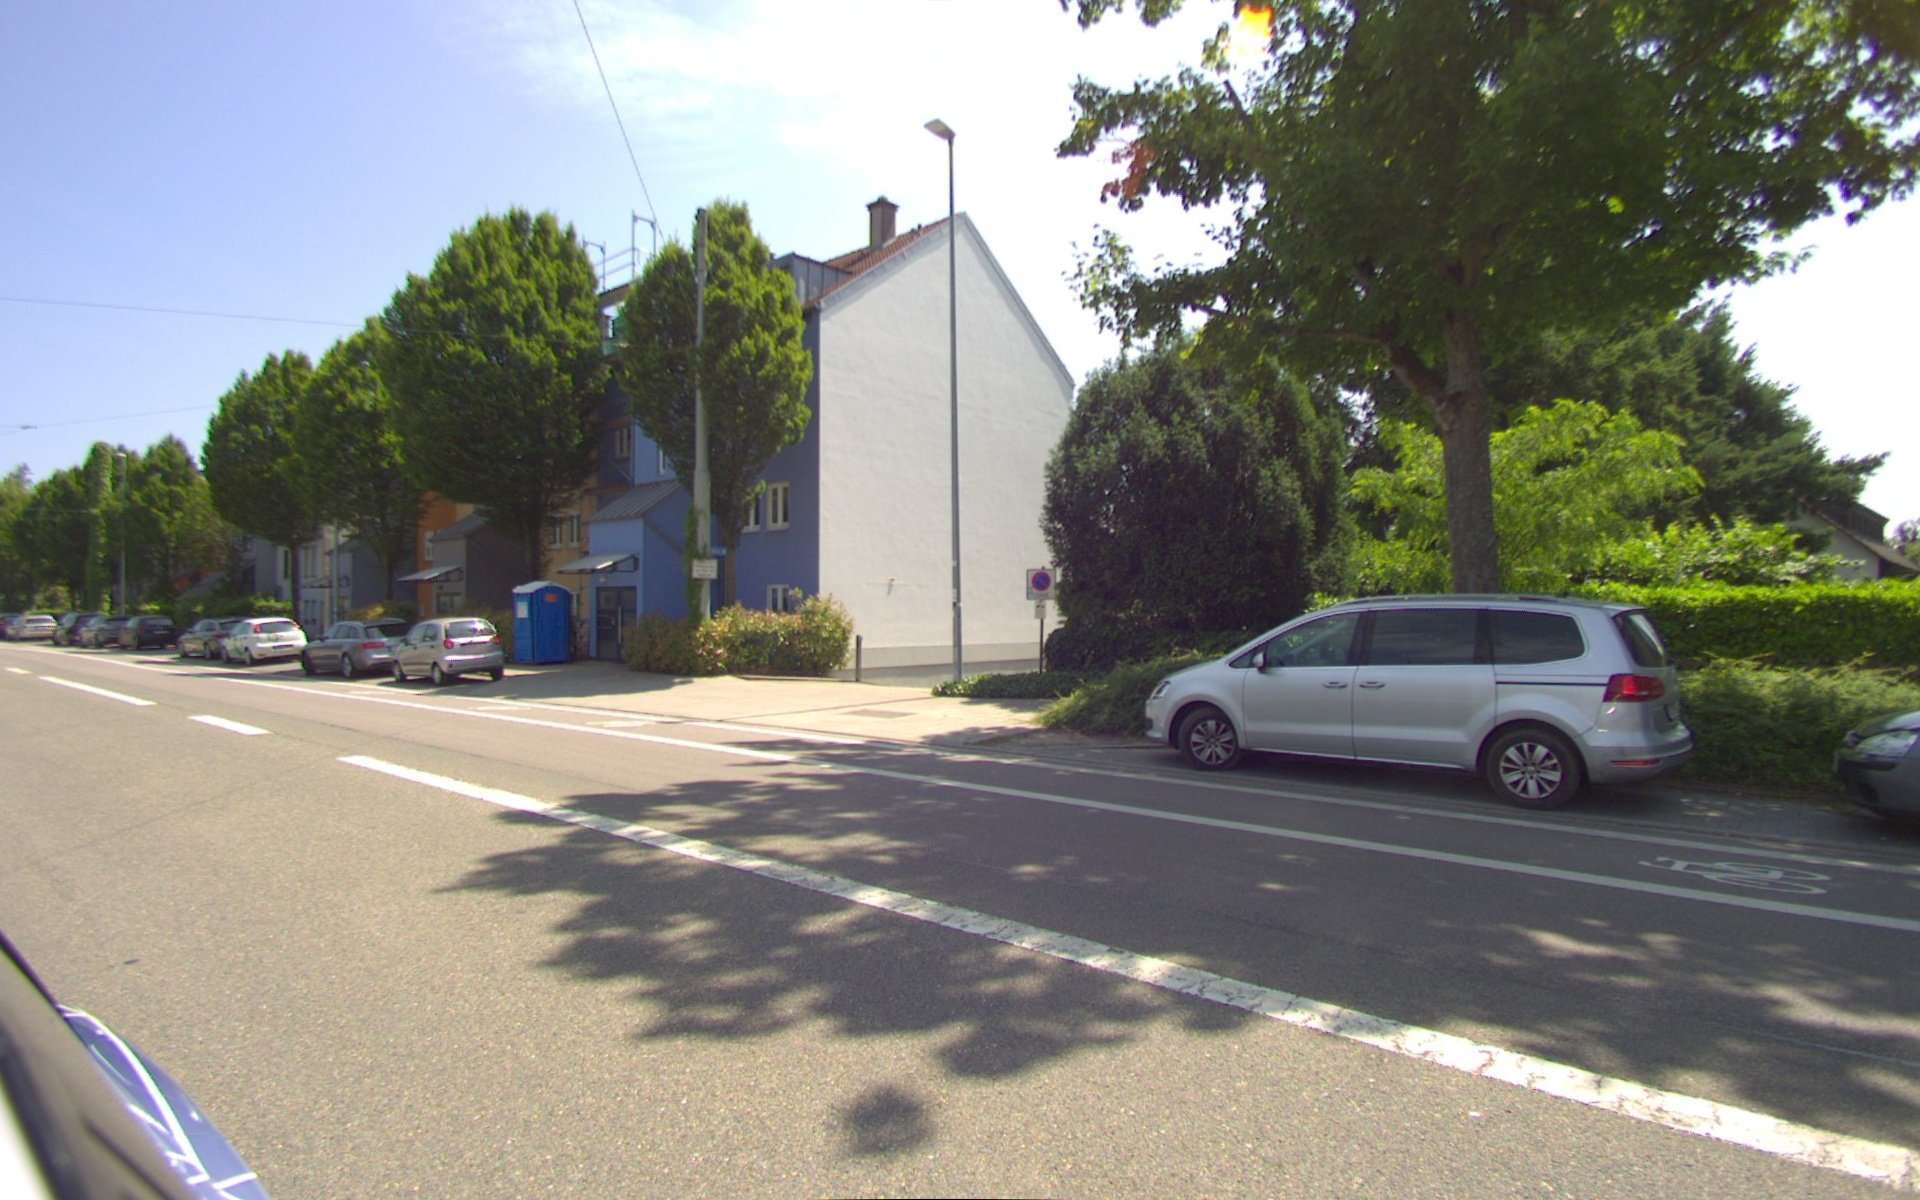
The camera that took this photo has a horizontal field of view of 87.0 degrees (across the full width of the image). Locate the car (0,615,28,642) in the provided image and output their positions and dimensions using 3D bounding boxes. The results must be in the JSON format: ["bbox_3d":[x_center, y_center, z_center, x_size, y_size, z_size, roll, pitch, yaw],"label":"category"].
[{"bbox_3d":[-58.548,1.738,61.815,3.467,1.507,1.842,-1,2,40],"label":"car"}]

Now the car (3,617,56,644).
[{"bbox_3d":[-53.876,1.740,58.580,4.079,1.507,1.701,-1,-2,40],"label":"car"}]

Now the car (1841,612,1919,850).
[{"bbox_3d":[7.993,0.829,6.003,4.125,1.498,1.659,-1,0,41],"label":"car"}]

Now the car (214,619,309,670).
[{"bbox_3d":[-23.488,1.440,34.007,3.646,1.507,1.636,-1,2,40],"label":"car"}]

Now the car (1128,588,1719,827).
[{"bbox_3d":[4.104,0.785,9.523,4.687,1.701,1.950,-1,0,43],"label":"car"}]

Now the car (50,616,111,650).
[{"bbox_3d":[-44.795,1.651,51.538,4.079,1.599,1.636,-1,2,40],"label":"car"}]

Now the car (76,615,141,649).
[{"bbox_3d":[-40.127,1.491,47.689,4.079,1.507,1.635,-1,-2,40],"label":"car"}]

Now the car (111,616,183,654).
[{"bbox_3d":[-36.168,1.521,44.997,4.079,1.507,1.636,-1,2,40],"label":"car"}]

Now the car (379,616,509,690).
[{"bbox_3d":[-12.290,1.209,24.029,3.279,1.507,1.487,-1,4,40],"label":"car"}]

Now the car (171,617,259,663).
[{"bbox_3d":[-27.670,1.455,37.542,4.079,1.507,1.636,-1,2,40],"label":"car"}]

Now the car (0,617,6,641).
[{"bbox_3d":[-62.540,1.850,64.570,3.464,1.507,1.843,-1,-2,37],"label":"car"}]

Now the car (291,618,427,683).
[{"bbox_3d":[-16.280,1.290,27.309,4.634,1.507,1.659,-1,2,40],"label":"car"}]
